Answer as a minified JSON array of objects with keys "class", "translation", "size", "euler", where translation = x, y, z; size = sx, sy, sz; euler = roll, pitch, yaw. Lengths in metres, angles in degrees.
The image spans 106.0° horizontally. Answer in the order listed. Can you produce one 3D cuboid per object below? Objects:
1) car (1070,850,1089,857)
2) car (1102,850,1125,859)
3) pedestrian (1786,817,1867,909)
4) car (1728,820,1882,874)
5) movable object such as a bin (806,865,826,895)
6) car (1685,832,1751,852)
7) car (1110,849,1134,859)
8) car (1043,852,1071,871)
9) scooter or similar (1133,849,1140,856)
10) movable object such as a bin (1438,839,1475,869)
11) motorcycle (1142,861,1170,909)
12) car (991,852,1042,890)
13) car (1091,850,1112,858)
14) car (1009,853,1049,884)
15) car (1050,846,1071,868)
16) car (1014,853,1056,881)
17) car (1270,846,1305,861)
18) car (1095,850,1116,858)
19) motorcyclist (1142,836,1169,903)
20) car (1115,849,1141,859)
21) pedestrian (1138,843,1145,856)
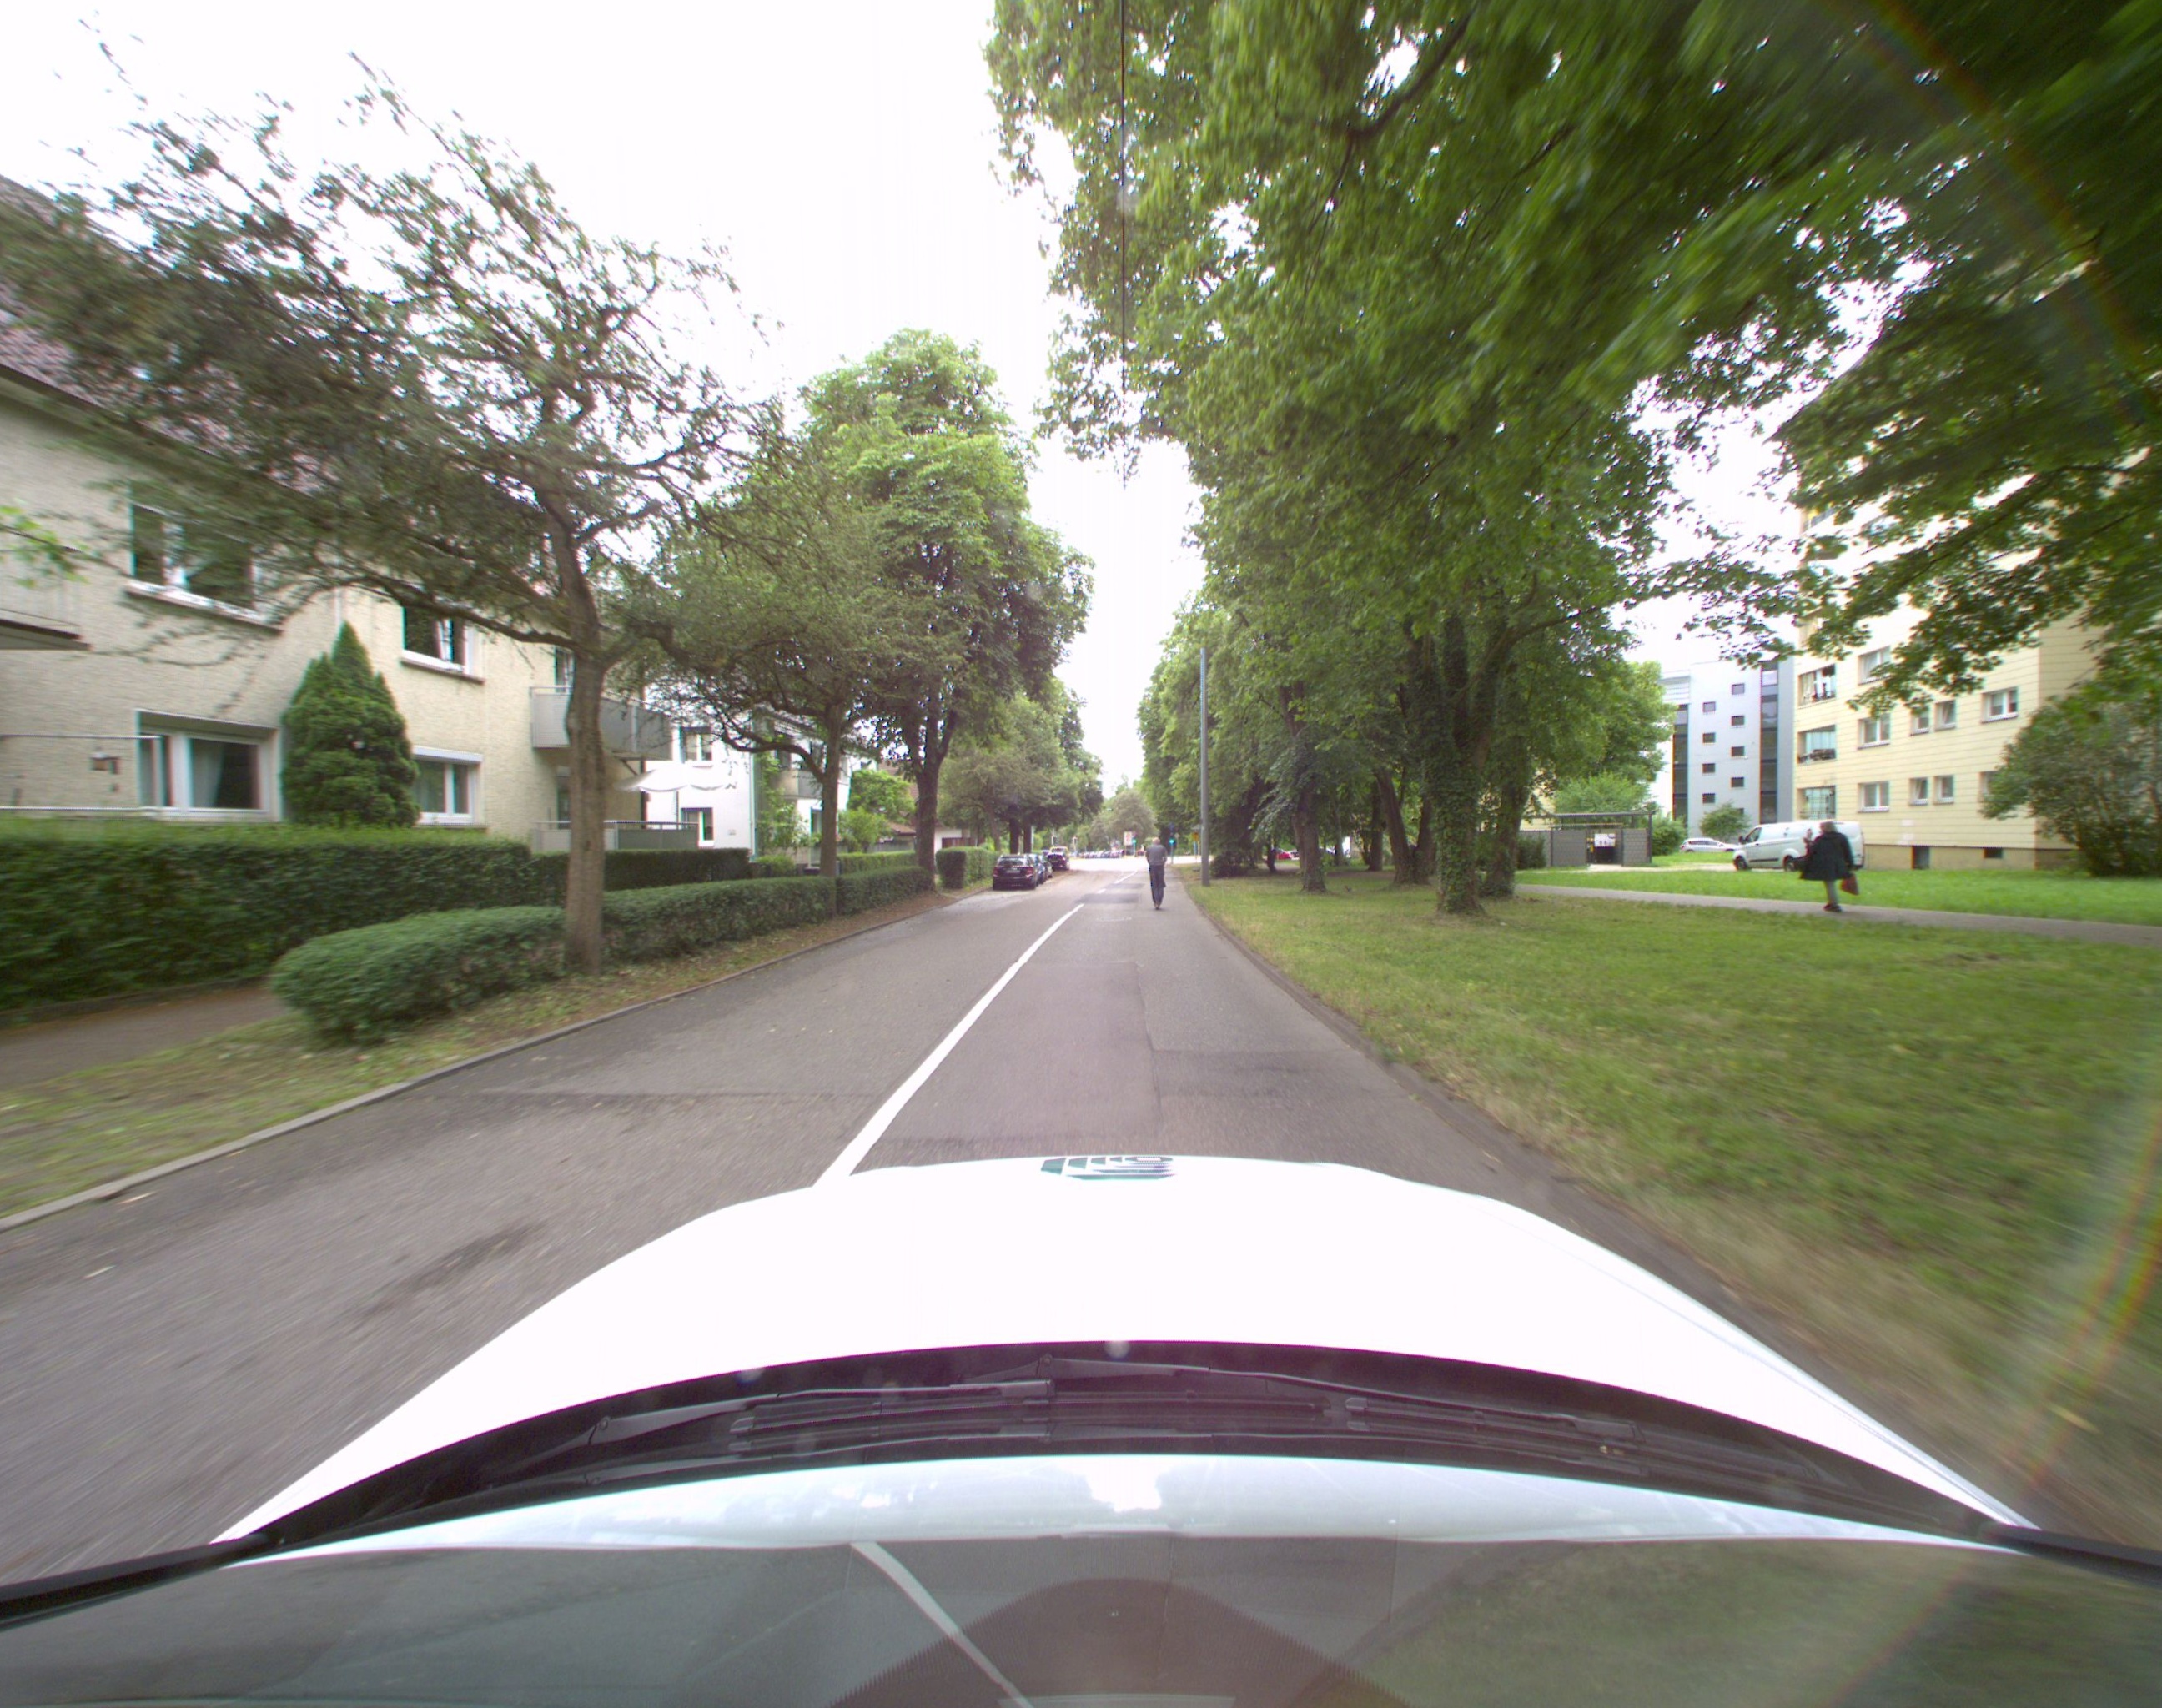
[{"class":"car","translation":[-0.315,-0.133,173.830],"size":[3.975,1.510,1.799],"euler":[-2,0,-1]},{"class":"car","translation":[5.853,0.008,146.509],"size":[3.975,1.510,1.799],"euler":[-2,0,-1]},{"class":"pedestrian","translation":[14.171,0.168,15.502],"size":[0.765,1.686,0.815],"euler":[-2,0,1]},{"class":"car","translation":[27.231,-0.309,30.903],"size":[2.073,1.842,4.983],"euler":[-2,1,10]},{"class":"movable object such as a bin","translation":[-8.481,0.825,26.061],"size":[0.455,0.915,0.508],"euler":[-2,0,-4]},{"class":"car","translation":[53.471,-1.015,68.361],"size":[4.281,1.510,1.811],"euler":[-1,0,40]},{"class":"car","translation":[7.033,-0.006,139.634],"size":[3.975,1.510,1.799],"euler":[-2,0,-1]},{"class":"car","translation":[-1.882,0.574,65.598],"size":[1.884,1.410,4.557],"euler":[-2,0,3]},{"class":"scooter or similar","translation":[7.764,-0.236,113.834],"size":[0.704,1.049,0.791],"euler":[-1,0,21]},{"class":"movable object such as a bin","translation":[19.564,0.000,42.471],"size":[1.322,1.501,1.314],"euler":[-2,0,-1]},{"class":"motorcycle","translation":[1.971,0.807,21.526],"size":[0.670,1.217,1.275],"euler":[0,0,3]},{"class":"car","translation":[-2.682,0.664,34.594],"size":[1.788,1.472,4.417],"euler":[-2,0,0]},{"class":"car","translation":[3.977,-0.008,159.184],"size":[3.975,1.510,1.799],"euler":[-2,0,-1]},{"class":"car","translation":[-2.504,0.658,39.573],"size":[1.659,1.391,3.706],"euler":[-2,0,0]},{"class":"car","translation":[-1.954,0.245,76.538],"size":[1.853,1.964,4.499],"euler":[-2,0,-3]},{"class":"car","translation":[-2.512,0.668,45.293],"size":[1.787,1.410,4.649],"euler":[-1,0,3]},{"class":"car","translation":[23.985,-0.084,94.628],"size":[3.958,1.557,1.808],"euler":[1,3,14]},{"class":"car","translation":[4.638,-0.024,157.268],"size":[3.975,1.510,1.799],"euler":[-2,0,-1]},{"class":"motorcyclist","translation":[1.979,0.409,21.658],"size":[0.670,1.761,0.639],"euler":[0,0,3]},{"class":"car","translation":[7.628,0.016,132.476],"size":[3.975,1.510,1.799],"euler":[-2,0,-1]},{"class":"pedestrian","translation":[8.464,-0.617,113.594],"size":[0.726,1.762,0.665],"euler":[-1,0,21]}]
